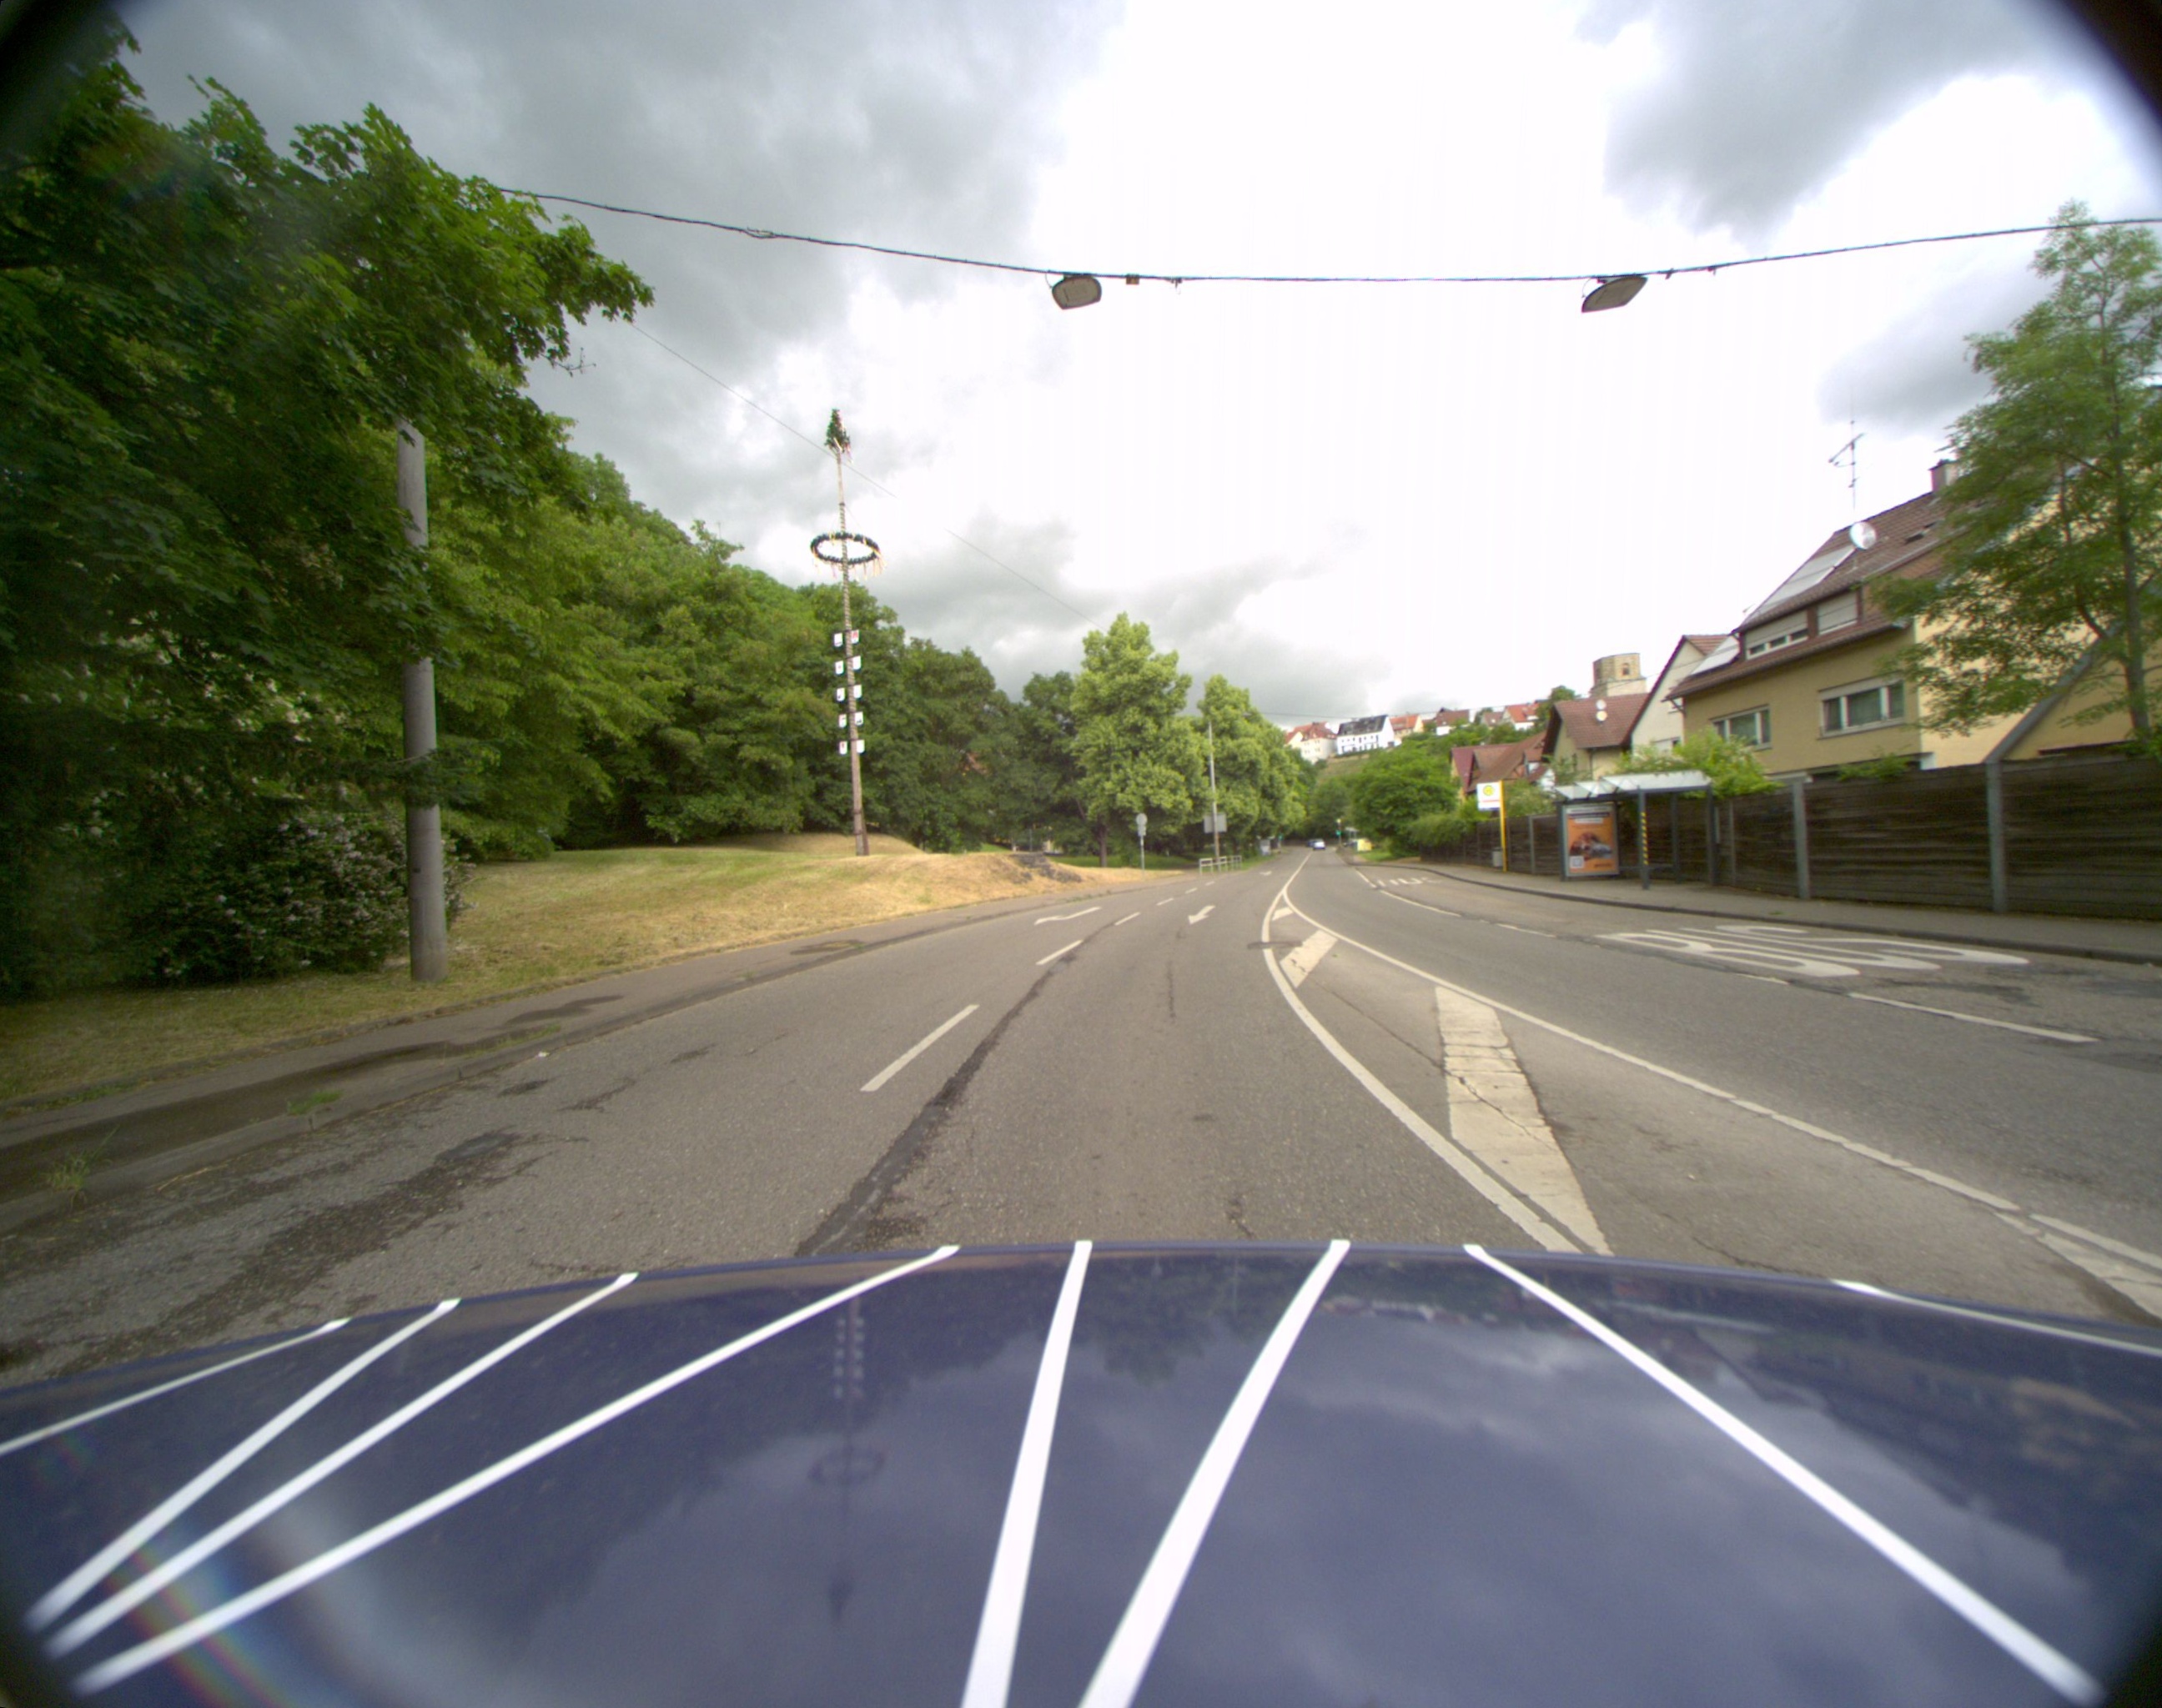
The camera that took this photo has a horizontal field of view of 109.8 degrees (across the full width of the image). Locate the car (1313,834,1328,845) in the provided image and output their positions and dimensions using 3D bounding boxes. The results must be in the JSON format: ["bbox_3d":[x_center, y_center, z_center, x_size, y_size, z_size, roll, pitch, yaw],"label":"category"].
[{"bbox_3d":[38.860,-2.393,123.206,1.996,1.608,4.004,-2,0,14],"label":"car"}]

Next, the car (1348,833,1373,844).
[{"bbox_3d":[45.760,-2.567,124.553,3.674,1.575,1.768,-2,1,25],"label":"car"}]
